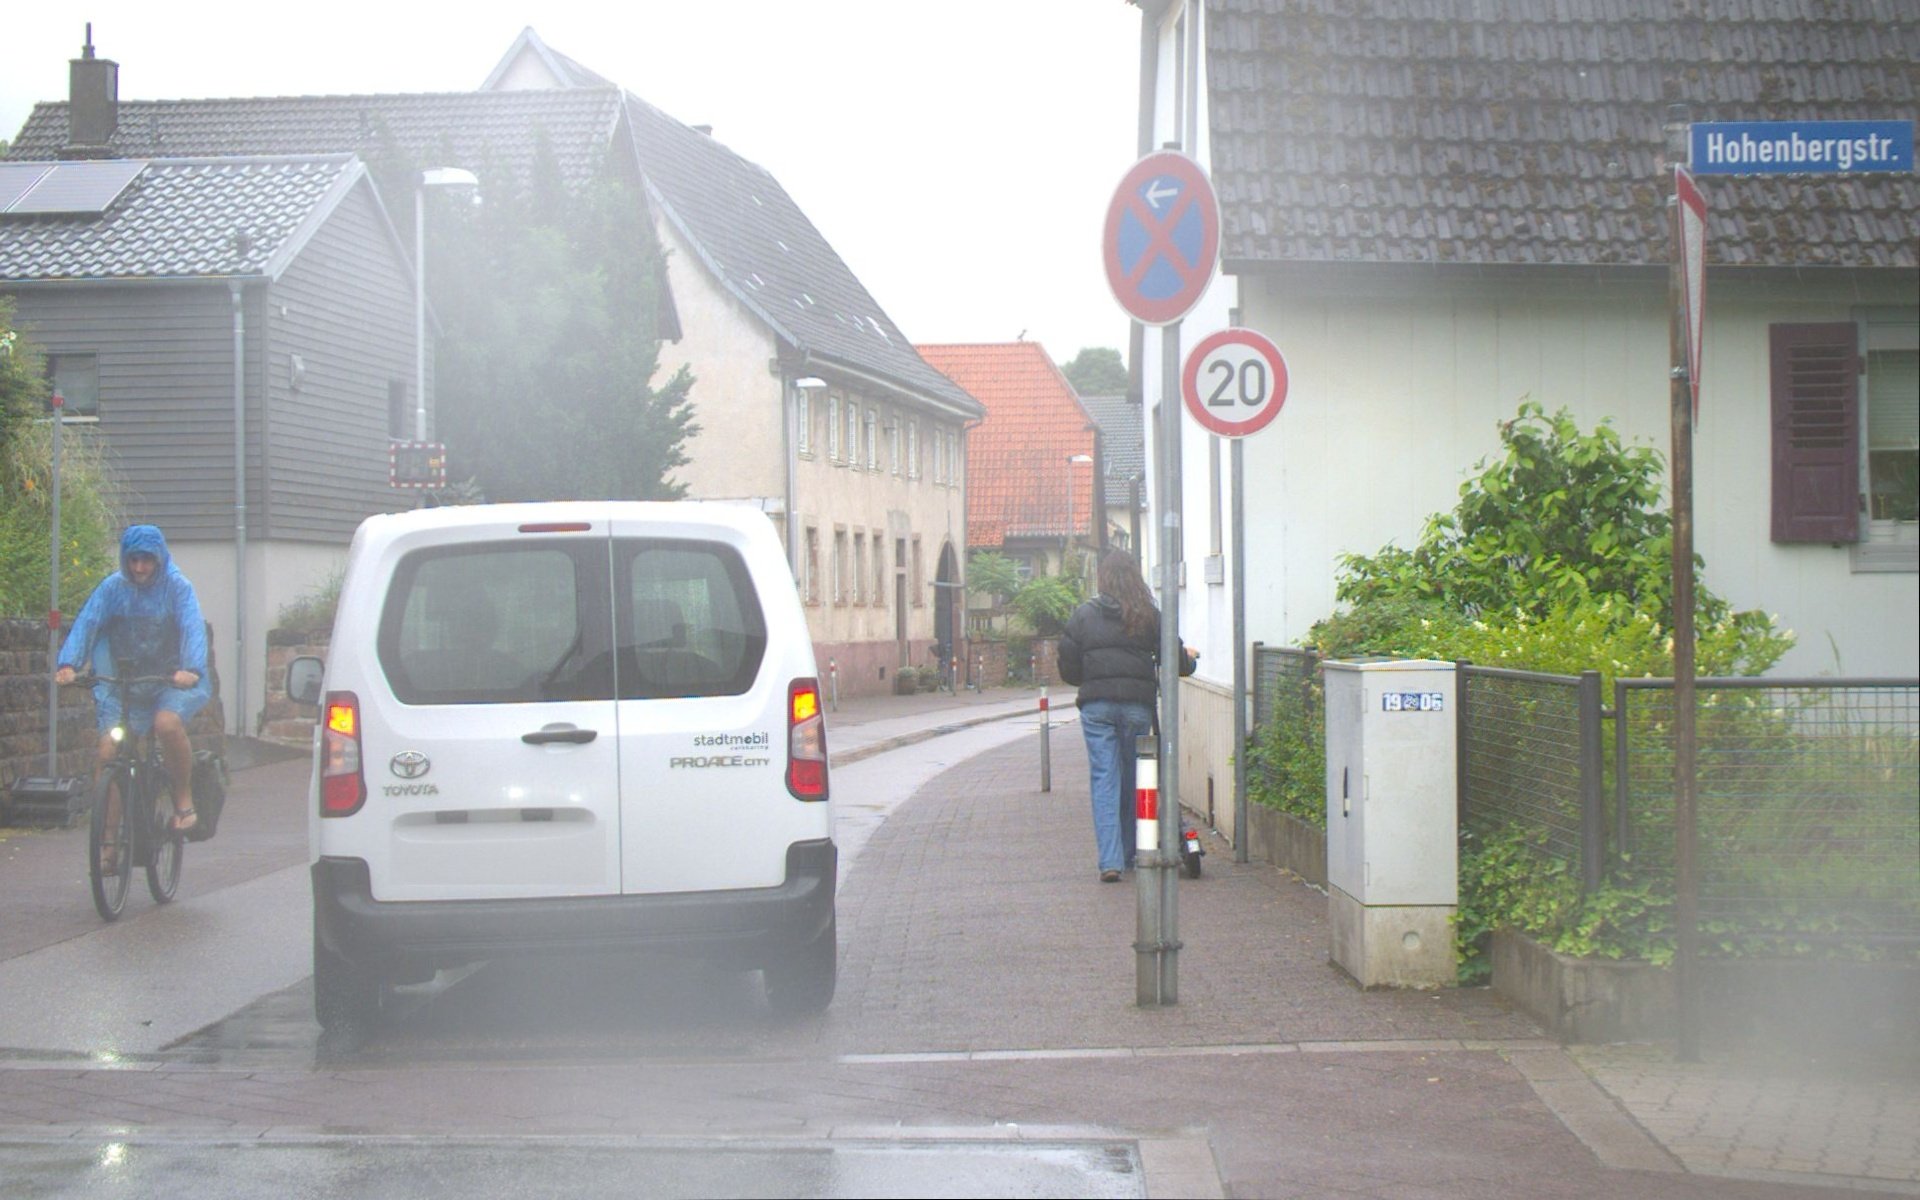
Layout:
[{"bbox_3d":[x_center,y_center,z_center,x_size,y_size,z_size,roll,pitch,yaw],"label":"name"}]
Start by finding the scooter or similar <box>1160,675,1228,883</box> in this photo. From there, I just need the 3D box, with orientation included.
[{"bbox_3d":[1.207,0.909,17.805,0.245,1.024,1.100,2,-1,0],"label":"scooter or similar"}]

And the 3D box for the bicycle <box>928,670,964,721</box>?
[{"bbox_3d":[-0.331,2.291,82.250,0.483,1.176,1.834,1,-2,12],"label":"bicycle"}]

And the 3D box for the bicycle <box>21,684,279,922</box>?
[{"bbox_3d":[-3.964,0.964,17.012,0.681,1.047,2.339,1,0,1],"label":"bicycle"}]

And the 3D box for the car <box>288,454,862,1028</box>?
[{"bbox_3d":[-1.583,0.528,13.156,1.794,1.813,4.102,2,-2,-10],"label":"car"}]

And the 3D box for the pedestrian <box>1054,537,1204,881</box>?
[{"bbox_3d":[0.871,0.555,17.849,0.694,1.726,0.821,2,-1,1],"label":"pedestrian"}]

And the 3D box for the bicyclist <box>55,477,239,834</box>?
[{"bbox_3d":[-3.989,0.275,16.907,0.687,1.707,0.703,1,-2,1],"label":"bicyclist"}]
